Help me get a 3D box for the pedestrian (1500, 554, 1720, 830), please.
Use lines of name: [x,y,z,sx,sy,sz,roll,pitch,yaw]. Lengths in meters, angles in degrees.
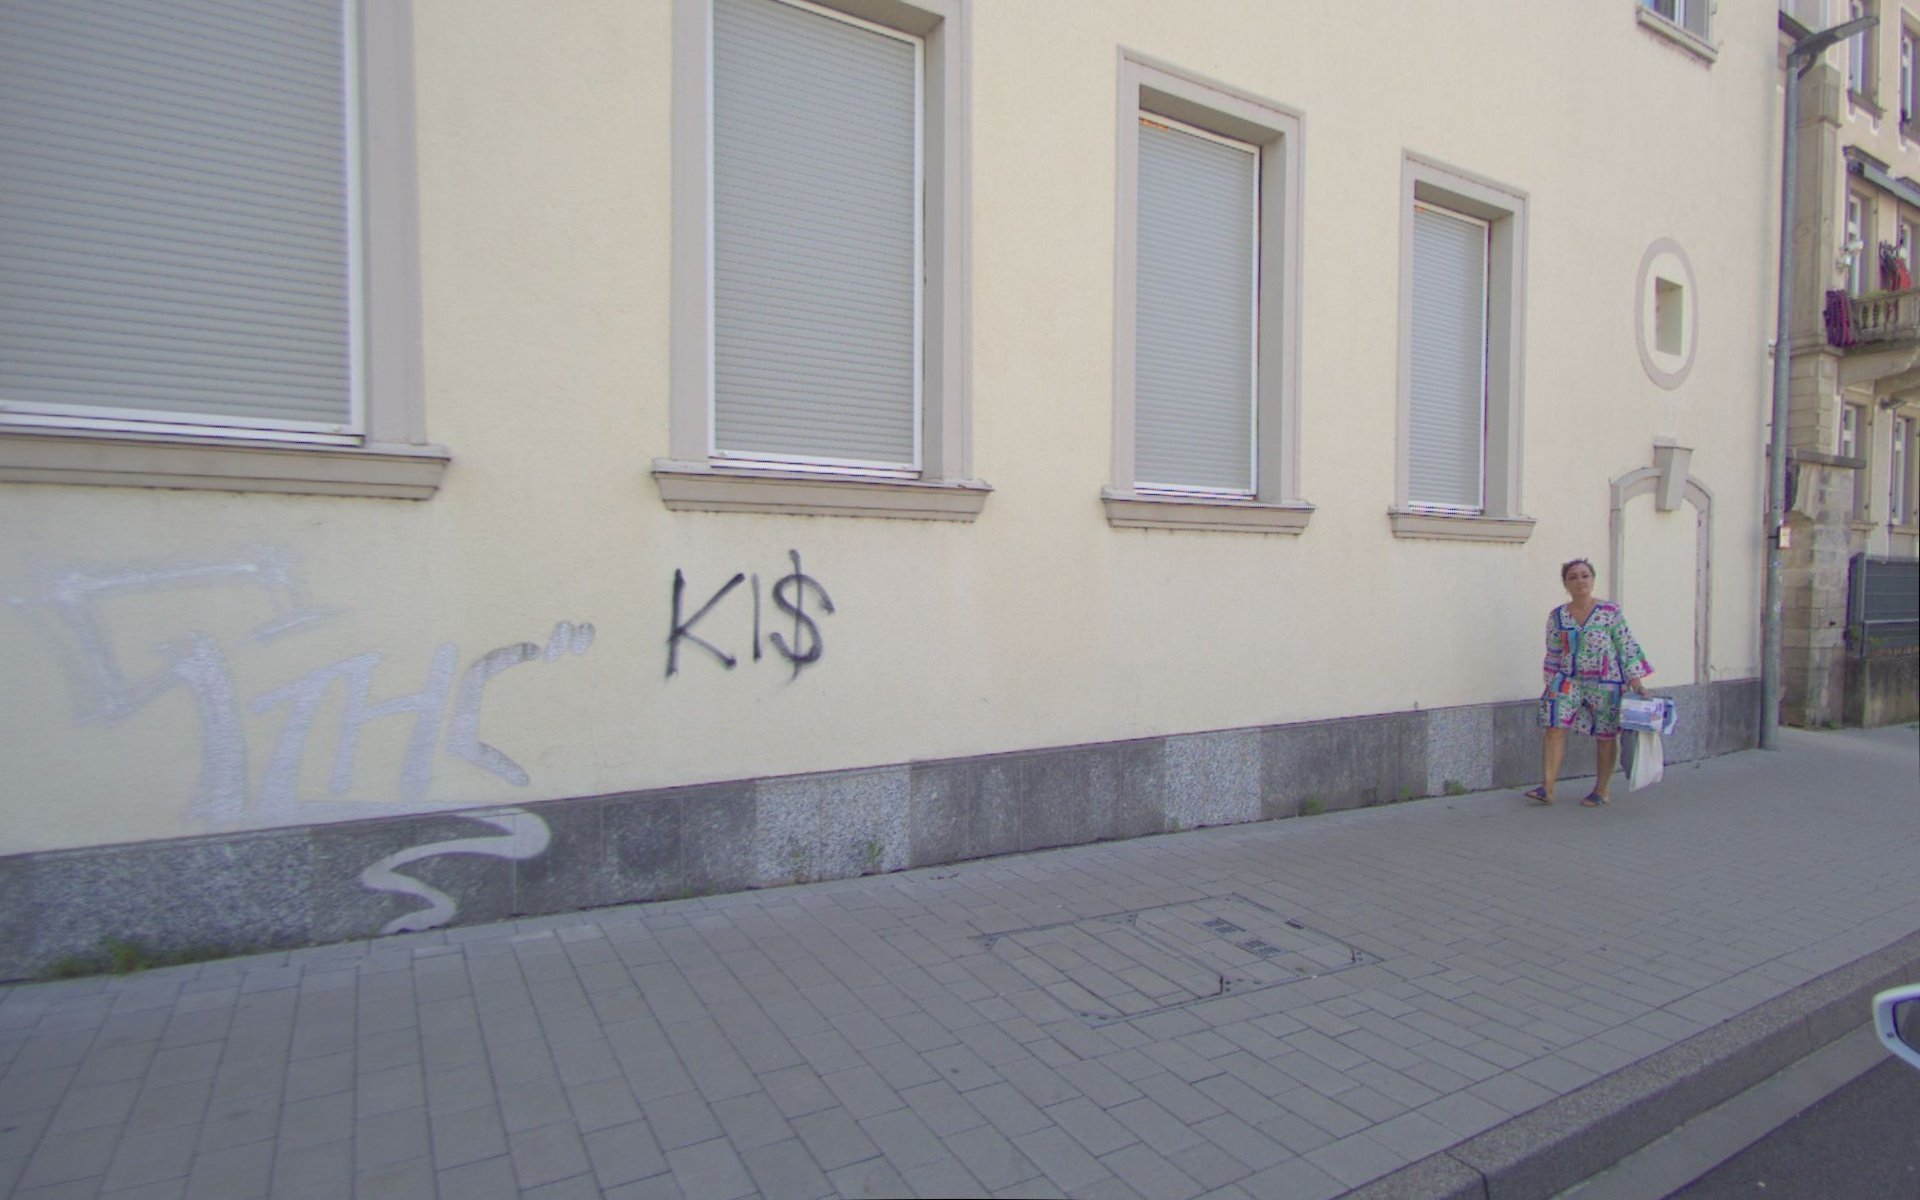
pedestrian: [4.254,0.541,6.616,0.749,1.653,0.952,0,2,-32]
